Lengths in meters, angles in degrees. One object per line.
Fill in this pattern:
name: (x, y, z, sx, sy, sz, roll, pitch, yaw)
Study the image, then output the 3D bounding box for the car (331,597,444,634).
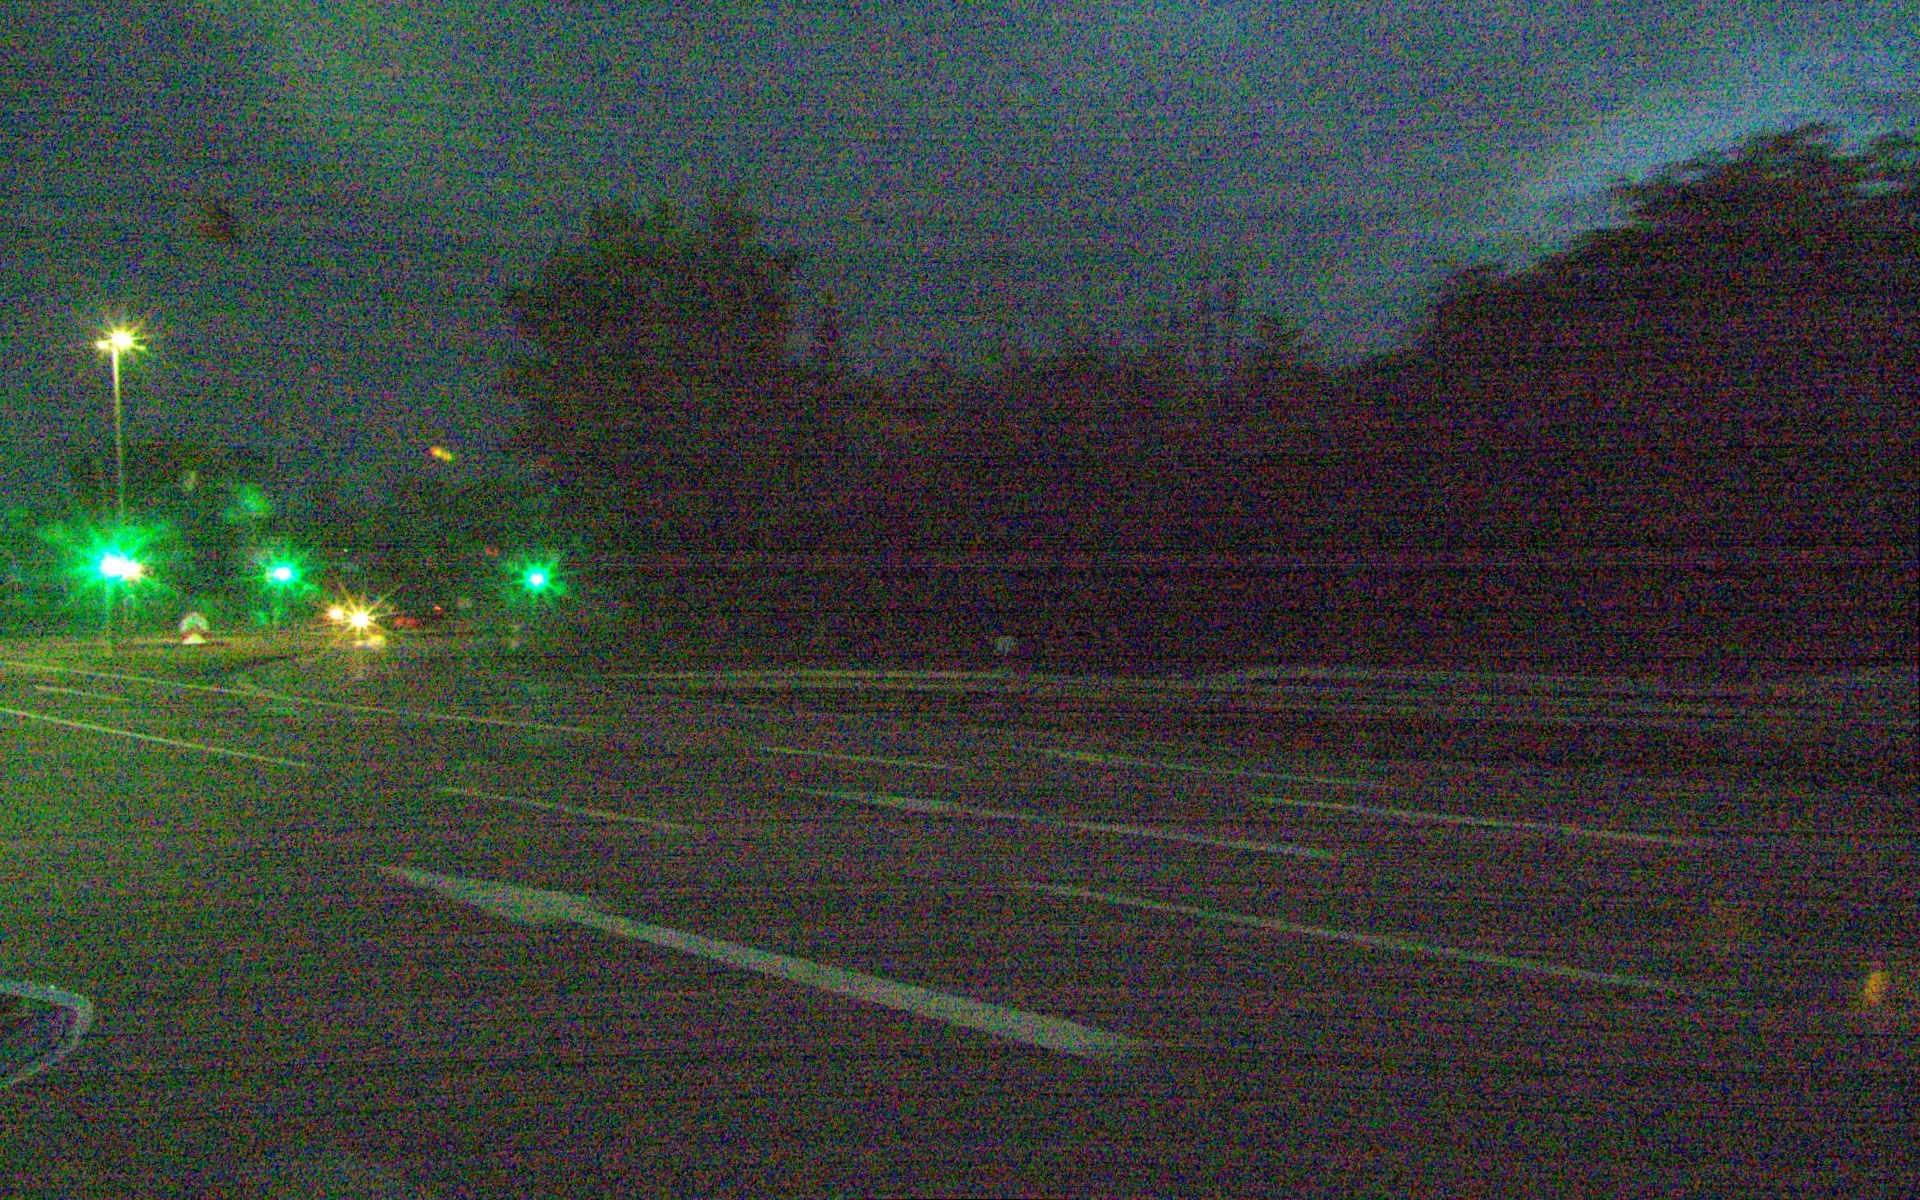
car: (-26.178, 0.667, 45.917, 1.972, 1.590, 4.068, 1, 0, 30)

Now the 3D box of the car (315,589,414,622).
car: (-30.589, 0.249, 51.528, 1.872, 1.590, 3.981, 1, 1, 30)
